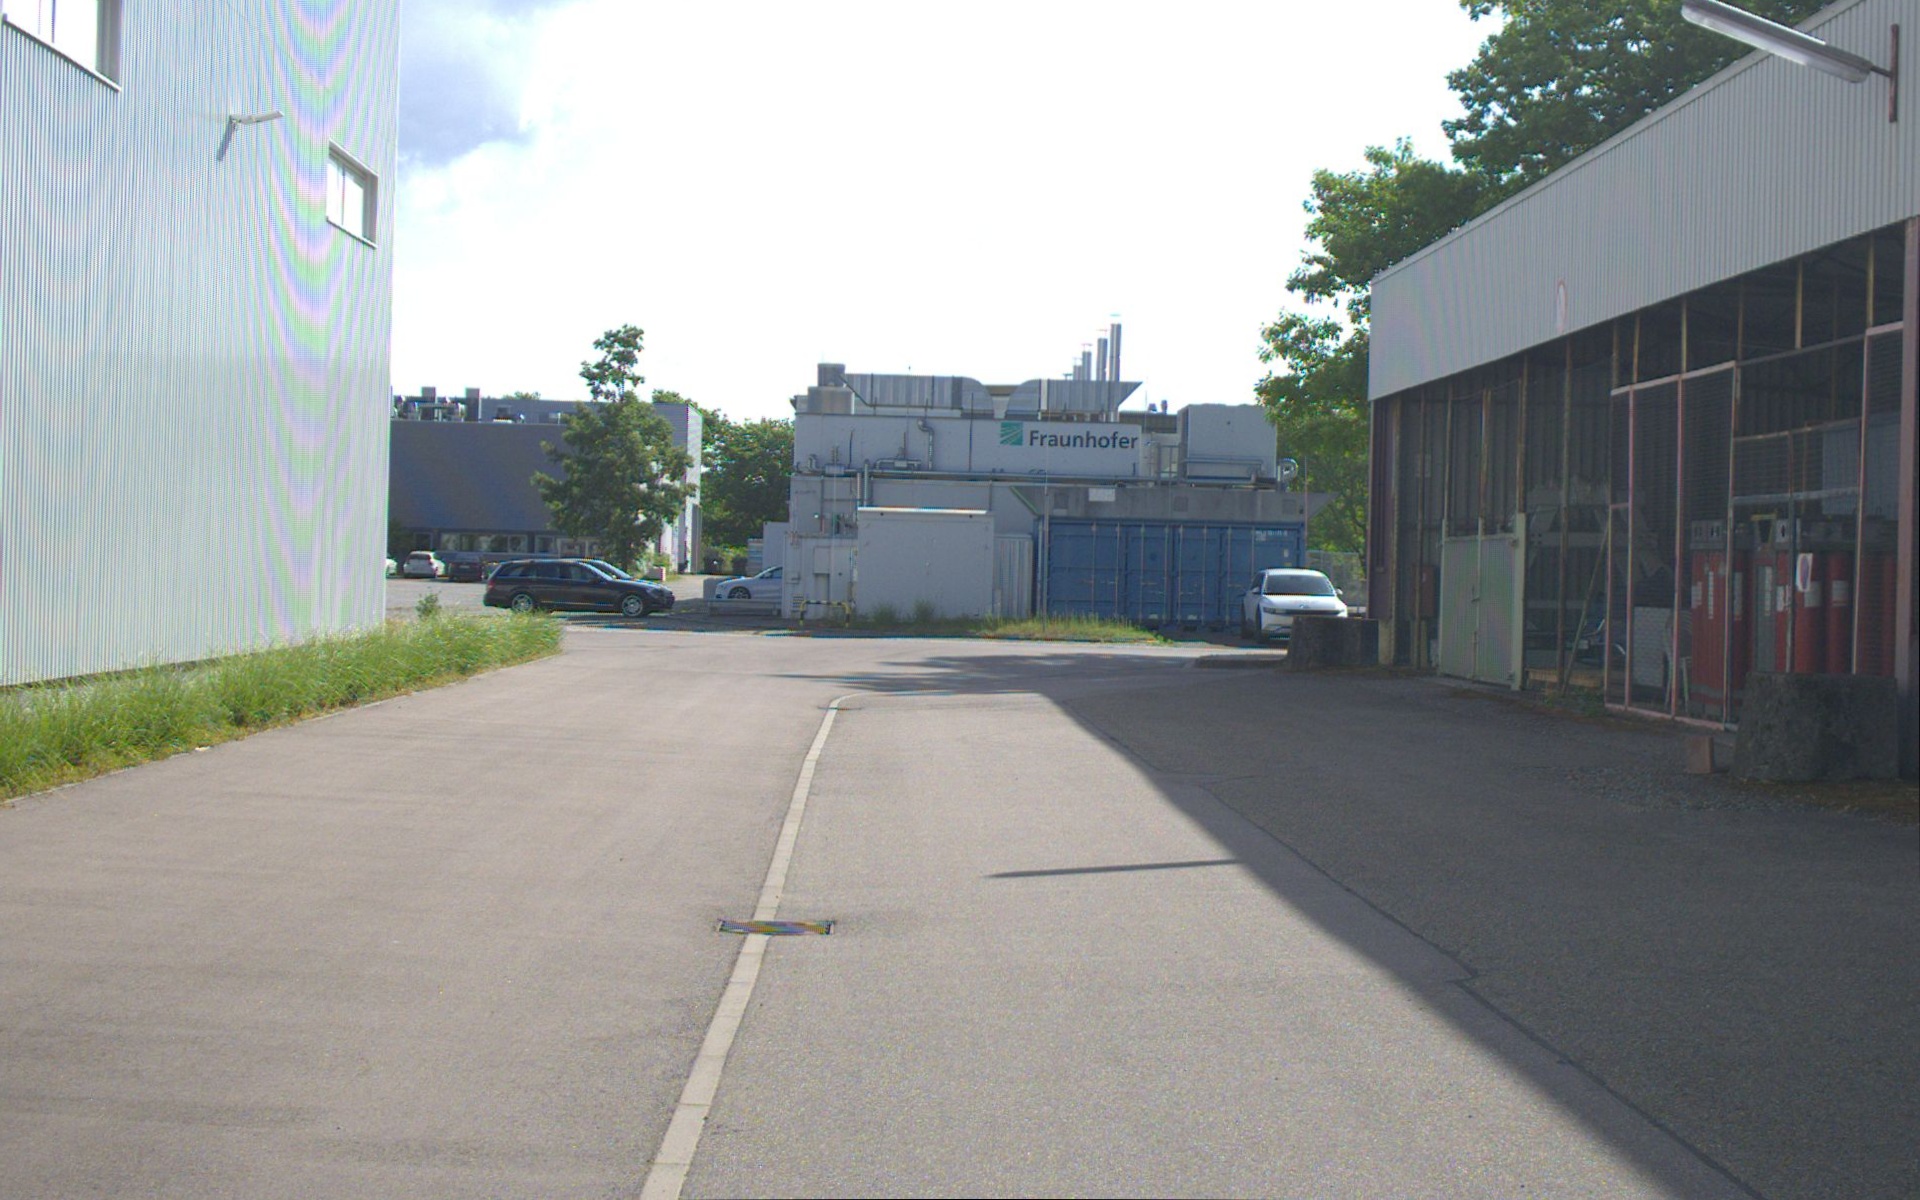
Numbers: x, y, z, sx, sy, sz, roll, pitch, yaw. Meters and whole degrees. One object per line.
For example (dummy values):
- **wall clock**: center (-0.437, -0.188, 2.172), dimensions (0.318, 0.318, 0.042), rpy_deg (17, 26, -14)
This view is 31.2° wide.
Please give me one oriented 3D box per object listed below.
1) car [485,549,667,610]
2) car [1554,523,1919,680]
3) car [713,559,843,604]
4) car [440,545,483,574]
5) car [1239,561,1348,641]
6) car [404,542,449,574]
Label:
- **car**: center (-9.702, -0.514, 87.159), dimensions (4.447, 1.526, 1.824), rpy_deg (0, 0, -1)
- **car**: center (10.329, 0.028, 44.508), dimensions (4.767, 1.909, 2.000), rpy_deg (1, 0, -9)
- **car**: center (-6.081, -0.612, 115.107), dimensions (4.302, 1.452, 1.824), rpy_deg (0, 0, -1)
- **car**: center (-26.428, -2.130, 182.278), dimensions (1.858, 1.489, 4.030), rpy_deg (0, 0, -3)
- **car**: center (7.239, -0.002, 74.931), dimensions (1.979, 1.597, 4.377), rpy_deg (0, 2, 0)
- **car**: center (-28.540, -2.245, 184.084), dimensions (1.965, 1.706, 4.030), rpy_deg (0, 0, -3)
